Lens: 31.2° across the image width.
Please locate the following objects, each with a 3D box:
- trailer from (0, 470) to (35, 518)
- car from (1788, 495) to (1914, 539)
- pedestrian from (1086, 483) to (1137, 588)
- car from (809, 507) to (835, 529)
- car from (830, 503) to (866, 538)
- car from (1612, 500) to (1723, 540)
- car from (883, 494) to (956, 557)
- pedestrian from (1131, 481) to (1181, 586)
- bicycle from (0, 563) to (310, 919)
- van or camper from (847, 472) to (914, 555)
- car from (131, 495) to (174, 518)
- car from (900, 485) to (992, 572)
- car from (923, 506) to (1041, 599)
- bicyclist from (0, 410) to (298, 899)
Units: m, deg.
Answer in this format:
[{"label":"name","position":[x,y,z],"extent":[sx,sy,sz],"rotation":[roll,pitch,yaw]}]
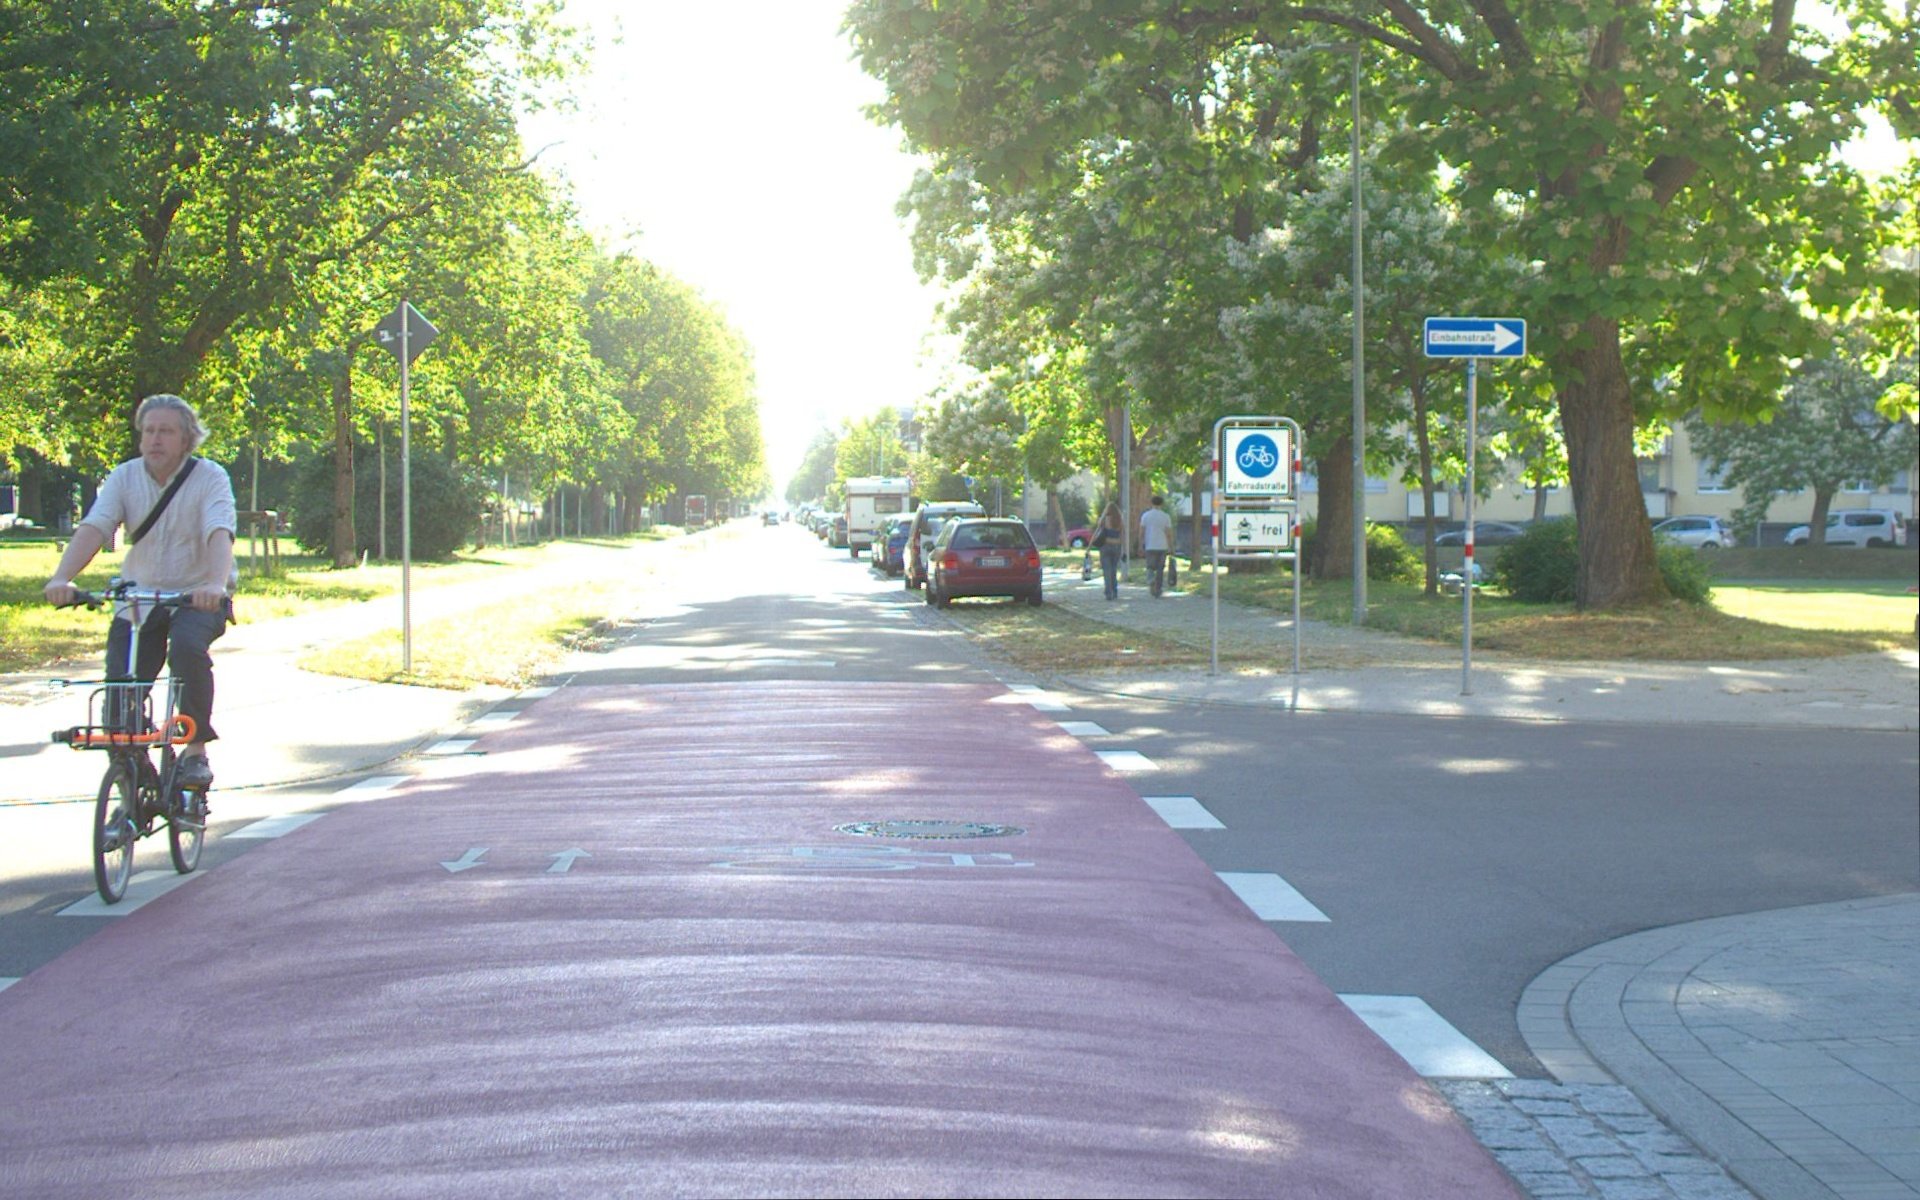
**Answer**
[{"label":"trailer","position":[-51.452,-5.642,183.489],"extent":[2.459,2.480,7.051],"rotation":[0,1,-2]},{"label":"car","position":[35.559,-3.323,137.241],"extent":[4.519,1.740,1.877],"rotation":[1,1,32]},{"label":"pedestrian","position":[2.522,-1.085,57.406],"extent":[0.753,1.730,0.732],"rotation":[1,2,-2]},{"label":"car","position":[-8.776,-5.232,218.577],"extent":[1.626,1.405,4.250],"rotation":[0,1,-3]},{"label":"car","position":[-5.409,-3.831,165.362],"extent":[1.626,1.663,4.250],"rotation":[0,1,-3]},{"label":"car","position":[27.738,-3.142,134.729],"extent":[3.992,1.546,1.608],"rotation":[1,1,25]},{"label":"car","position":[-1.043,-1.888,86.641],"extent":[1.731,1.545,4.276],"rotation":[0,1,-2]},{"label":"pedestrian","position":[3.267,-1.111,57.415],"extent":[0.725,1.730,0.732],"rotation":[1,2,-2]},{"label":"bicycle","position":[-2.991,0.457,12.462],"extent":[0.738,1.131,2.104],"rotation":[1,2,4]},{"label":"van or camper","position":[-2.890,-3.096,124.116],"extent":[2.234,2.894,5.674],"rotation":[0,0,-3]},{"label":"car","position":[-53.456,-6.170,227.562],"extent":[1.993,1.503,4.116],"rotation":[0,1,-2]},{"label":"car","position":[-0.315,-1.488,71.239],"extent":[1.678,1.734,4.515],"rotation":[0,1,-3]},{"label":"car","position":[0.327,-0.817,57.344],"extent":[1.678,1.481,4.810],"rotation":[0,1,-3]},{"label":"bicyclist","position":[-2.985,0.177,12.463],"extent":[0.937,1.697,0.905],"rotation":[1,2,4]}]
